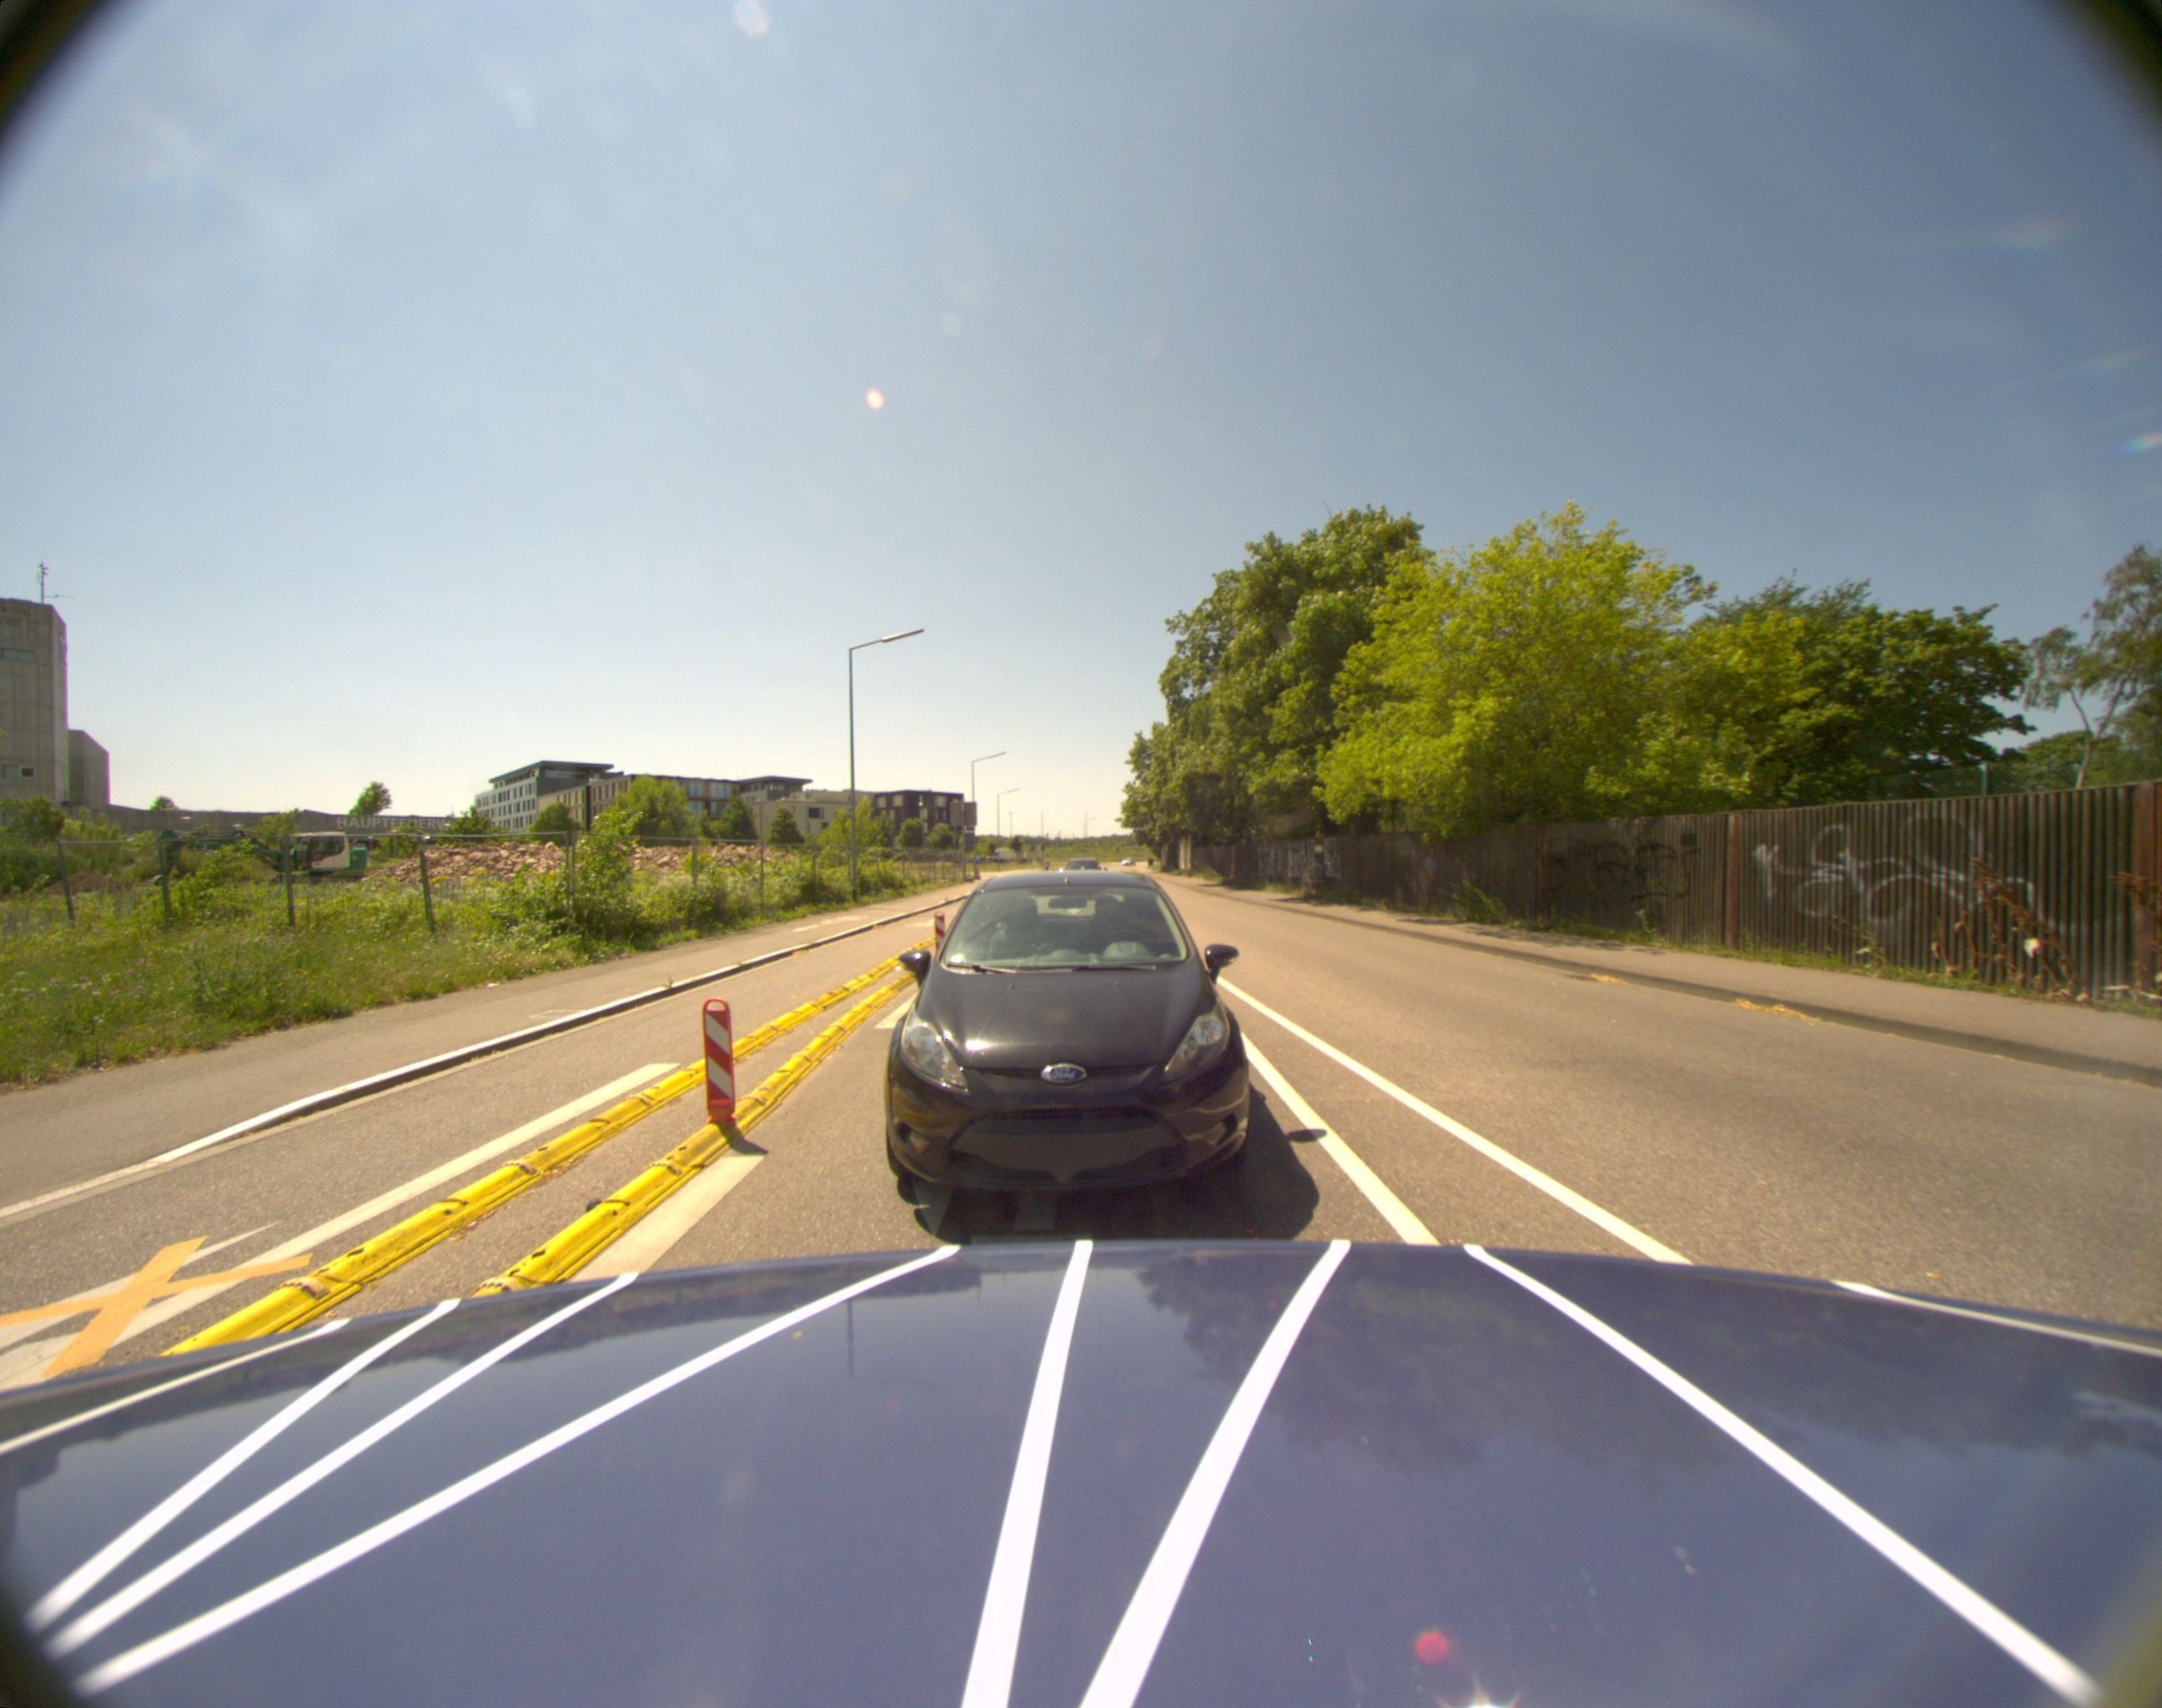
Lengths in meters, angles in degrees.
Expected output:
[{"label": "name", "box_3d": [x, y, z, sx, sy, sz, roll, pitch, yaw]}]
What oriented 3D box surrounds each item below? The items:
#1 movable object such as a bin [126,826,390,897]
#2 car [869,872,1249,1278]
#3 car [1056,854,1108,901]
[{"label": "movable object such as a bin", "box_3d": [-38.345, 0.270, 35.937, 3.231, 2.899, 7.702, -2, 1, 15]}, {"label": "car", "box_3d": [-0.063, 0.974, 5.167, 1.528, 1.510, 3.999, -2, 1, 1]}, {"label": "car", "box_3d": [0.059, 0.900, 31.131, 1.924, 1.643, 4.668, -2, 1, 1]}]
